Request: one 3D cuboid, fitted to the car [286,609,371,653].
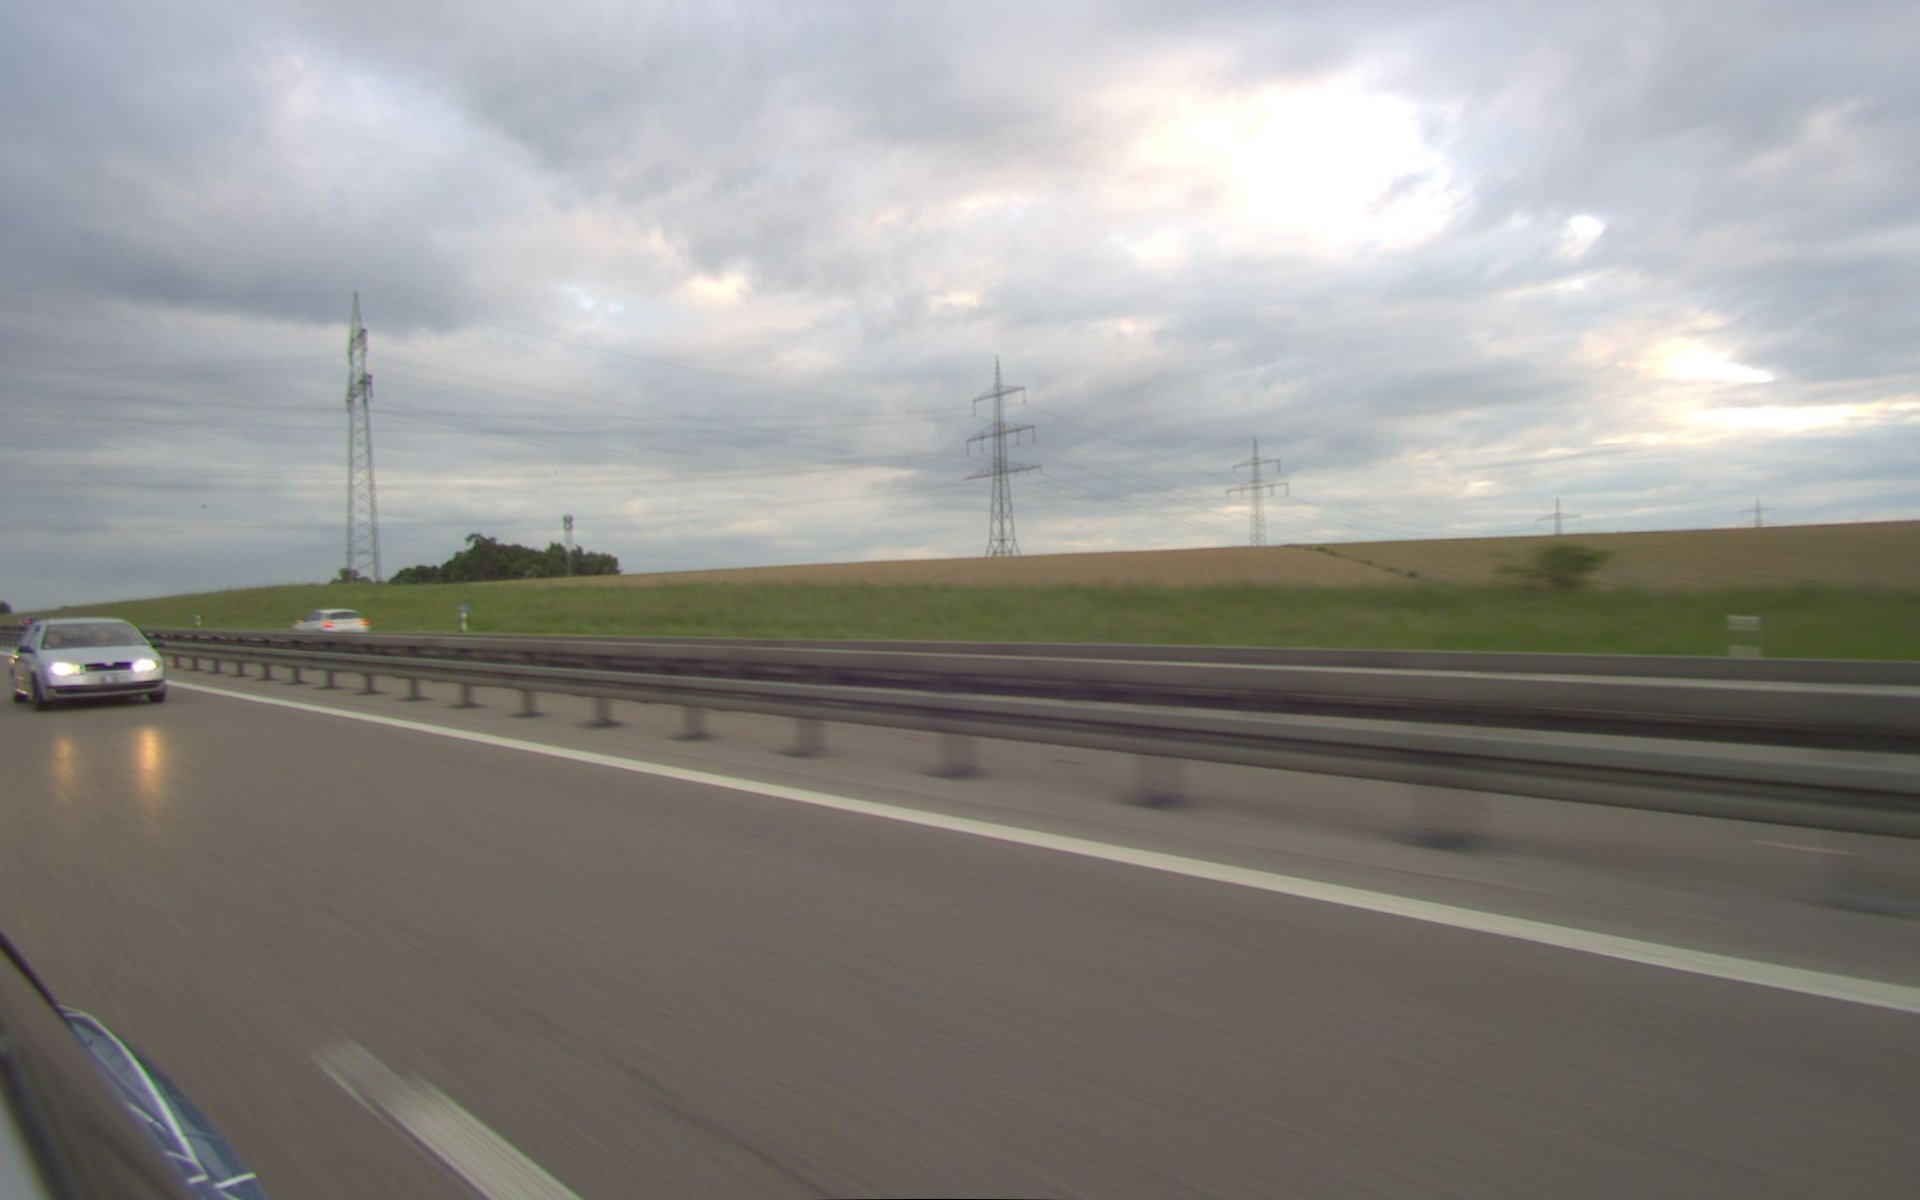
[{"bbox_3d":[-26.979,1.326,43.158,4.587,1.712,1.772,-2,1,41],"label":"car"}]

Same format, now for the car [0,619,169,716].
[{"bbox_3d":[-14.773,1.033,16.881,4.597,1.400,1.572,-1,-1,40],"label":"car"}]

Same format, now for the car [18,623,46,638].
[{"bbox_3d":[-96.691,3.172,105.429,4.008,1.370,1.657,-2,3,40],"label":"car"}]
